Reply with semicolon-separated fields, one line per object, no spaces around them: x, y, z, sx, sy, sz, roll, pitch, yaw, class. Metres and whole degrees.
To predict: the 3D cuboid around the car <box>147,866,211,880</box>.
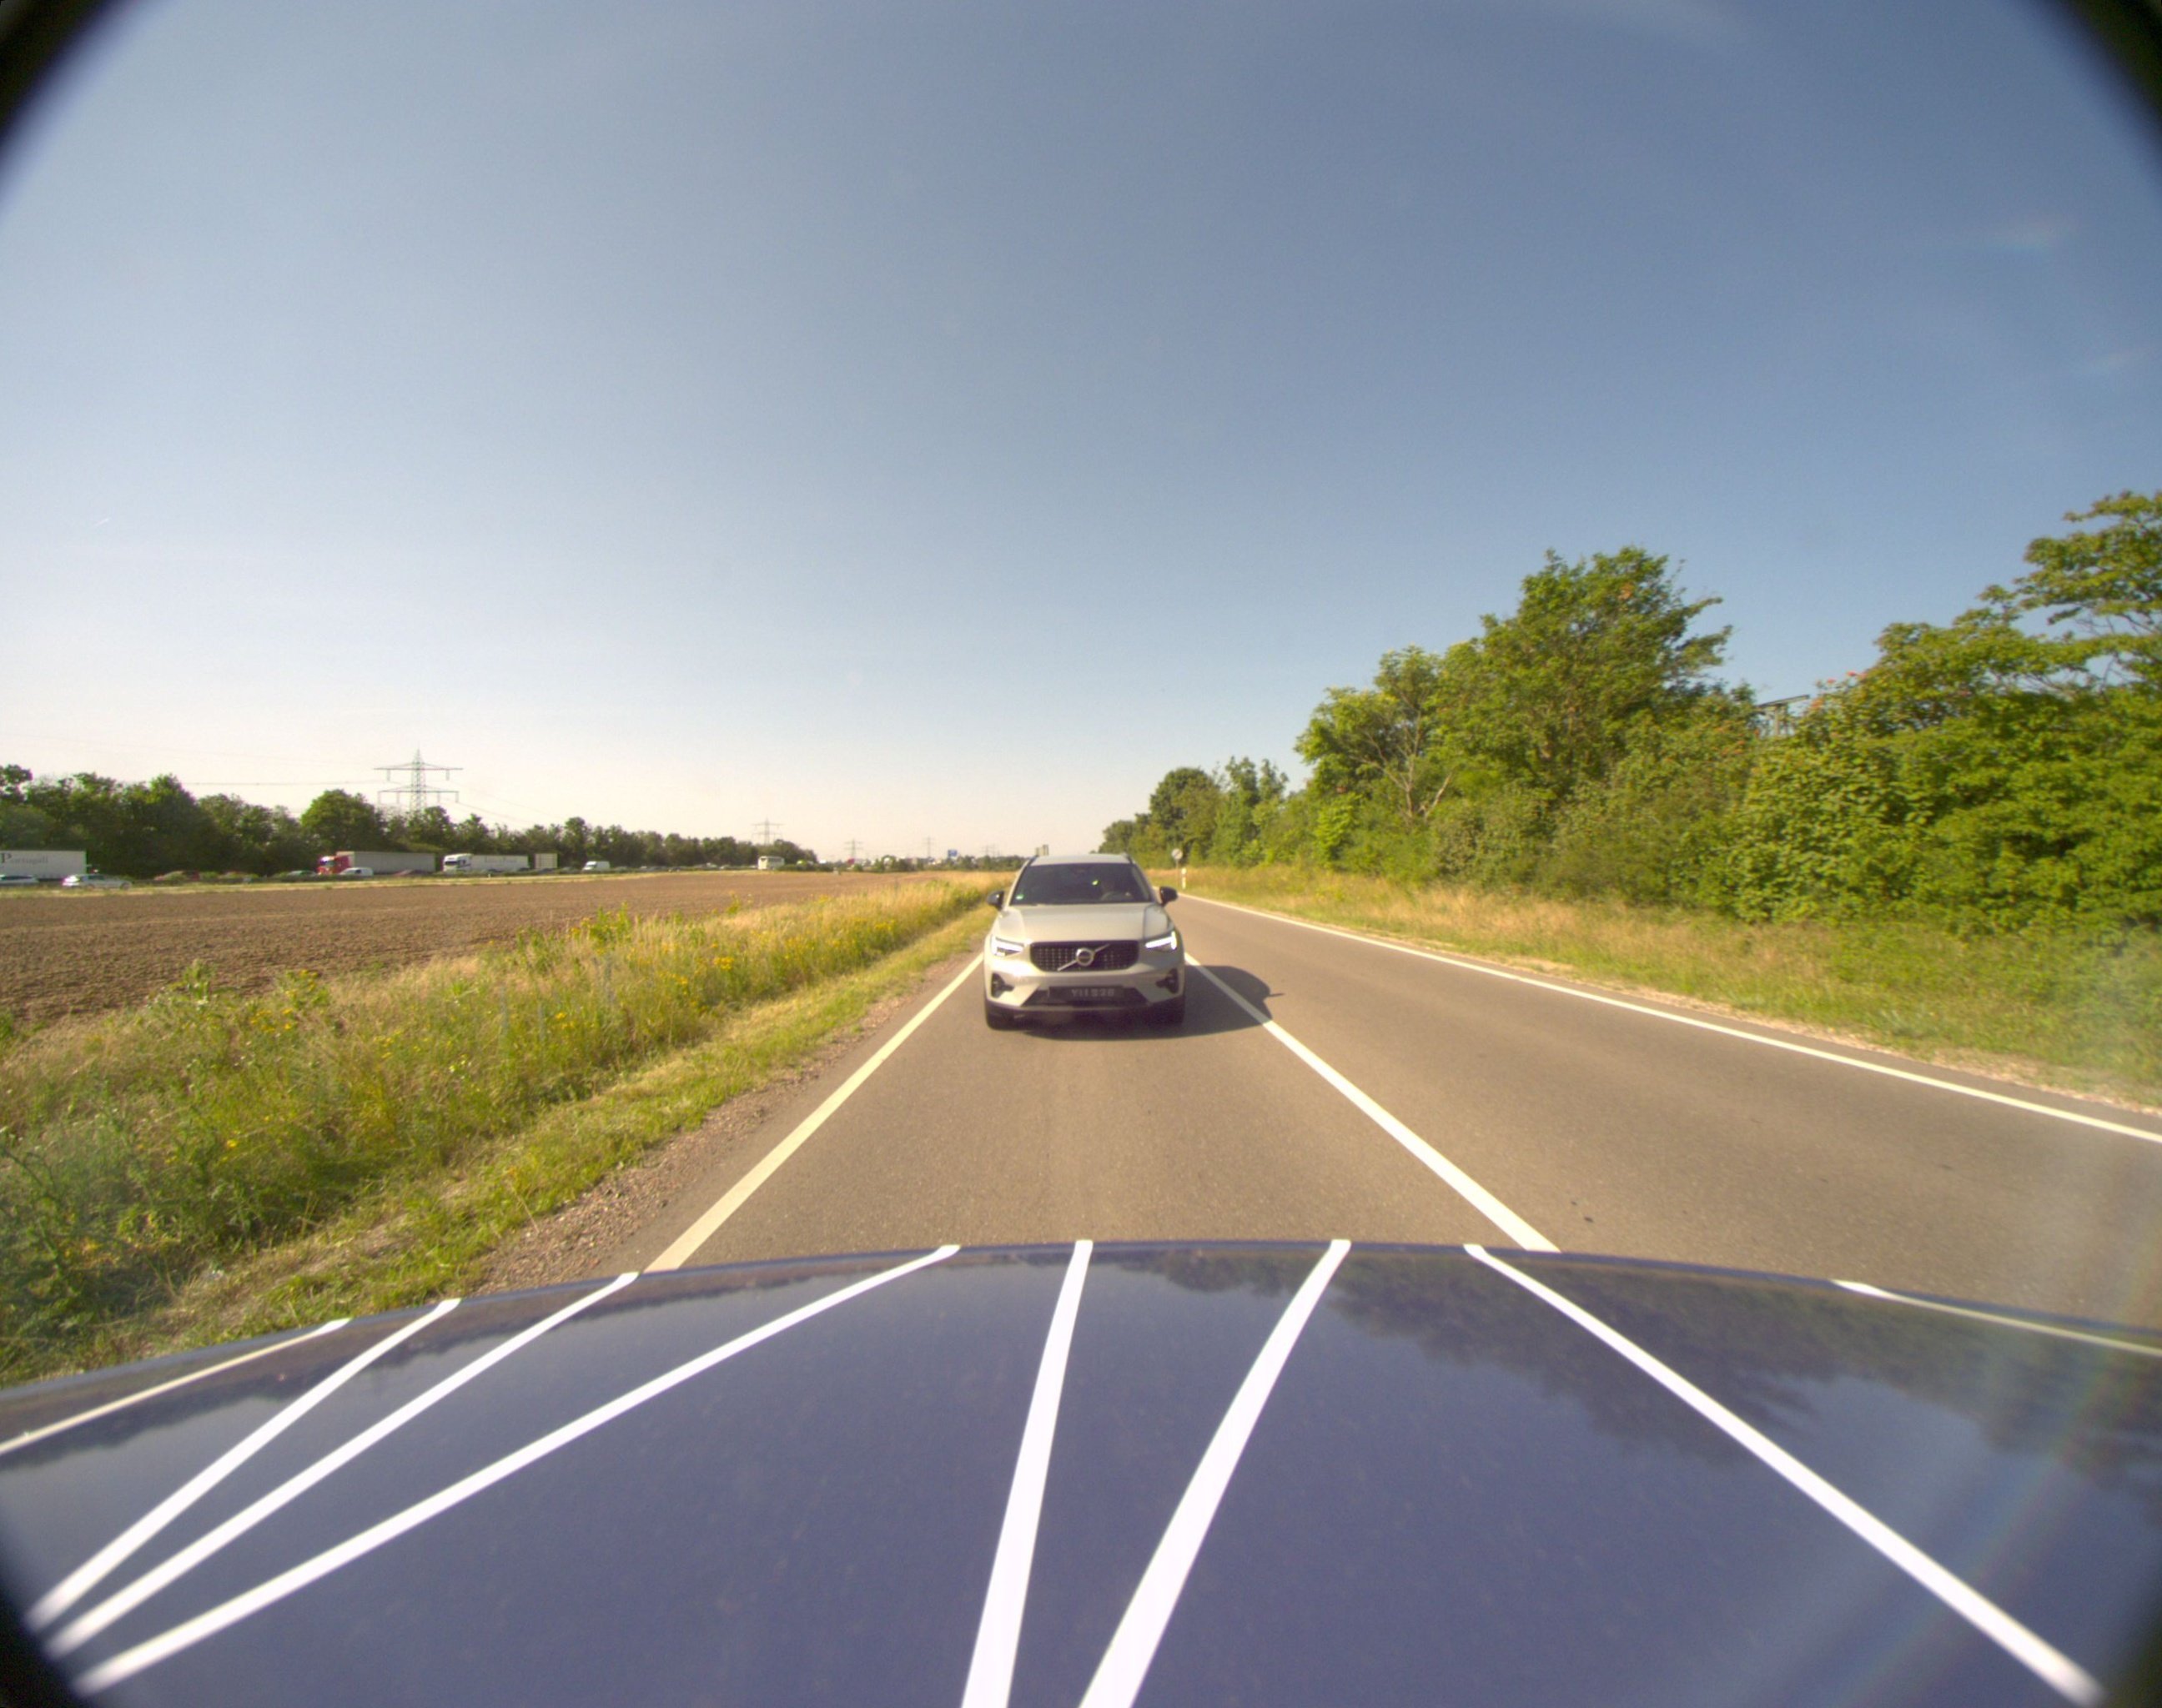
-97.640;2.051;82.313;1.855;1.377;4.247;-2;-1;-2;car

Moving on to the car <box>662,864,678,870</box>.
-90.728;2.941;167.797;1.550;1.227;3.619;-3;-1;-2;car

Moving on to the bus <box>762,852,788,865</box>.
-91.032;1.426;226.438;2.469;3.780;14.546;-1;-1;-2;bus

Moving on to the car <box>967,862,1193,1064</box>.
-0.027;0.922;8.377;1.840;1.627;4.135;-1;0;-1;car

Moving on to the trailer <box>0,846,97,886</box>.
-103.071;1.150;71.659;3.079;3.711;13.366;-1;0;0;trailer

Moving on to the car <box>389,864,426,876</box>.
-97.560;2.306;110.090;1.707;1.500;4.093;-2;0;-1;car

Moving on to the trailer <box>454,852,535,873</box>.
-104.317;1.445;135.701;3.211;3.510;15.081;0;0;-2;trailer

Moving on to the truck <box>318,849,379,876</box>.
-103.867;1.163;107.888;2.953;3.711;5.869;-1;0;-1;truck

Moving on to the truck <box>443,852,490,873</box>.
-104.098;1.396;128.790;3.211;3.510;6.108;0;0;-2;truck

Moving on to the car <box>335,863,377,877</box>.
-97.443;2.133;102.196;1.707;1.629;4.093;-2;0;-2;car

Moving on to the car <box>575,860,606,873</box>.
-99.645;2.462;154.508;2.042;2.432;6.413;-1;0;-1;car

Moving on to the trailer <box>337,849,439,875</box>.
-104.018;1.211;114.606;2.953;3.711;13.781;-1;0;-1;trailer

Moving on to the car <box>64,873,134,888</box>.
-88.664;2.355;68.666;1.550;1.227;3.619;-3;-1;-2;car

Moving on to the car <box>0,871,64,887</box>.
-97.301;2.252;69.865;1.855;1.377;4.247;-2;-1;-2;car

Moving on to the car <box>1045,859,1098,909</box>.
-0.369;1.050;27.934;1.790;1.664;4.000;-1;-1;-2;car
